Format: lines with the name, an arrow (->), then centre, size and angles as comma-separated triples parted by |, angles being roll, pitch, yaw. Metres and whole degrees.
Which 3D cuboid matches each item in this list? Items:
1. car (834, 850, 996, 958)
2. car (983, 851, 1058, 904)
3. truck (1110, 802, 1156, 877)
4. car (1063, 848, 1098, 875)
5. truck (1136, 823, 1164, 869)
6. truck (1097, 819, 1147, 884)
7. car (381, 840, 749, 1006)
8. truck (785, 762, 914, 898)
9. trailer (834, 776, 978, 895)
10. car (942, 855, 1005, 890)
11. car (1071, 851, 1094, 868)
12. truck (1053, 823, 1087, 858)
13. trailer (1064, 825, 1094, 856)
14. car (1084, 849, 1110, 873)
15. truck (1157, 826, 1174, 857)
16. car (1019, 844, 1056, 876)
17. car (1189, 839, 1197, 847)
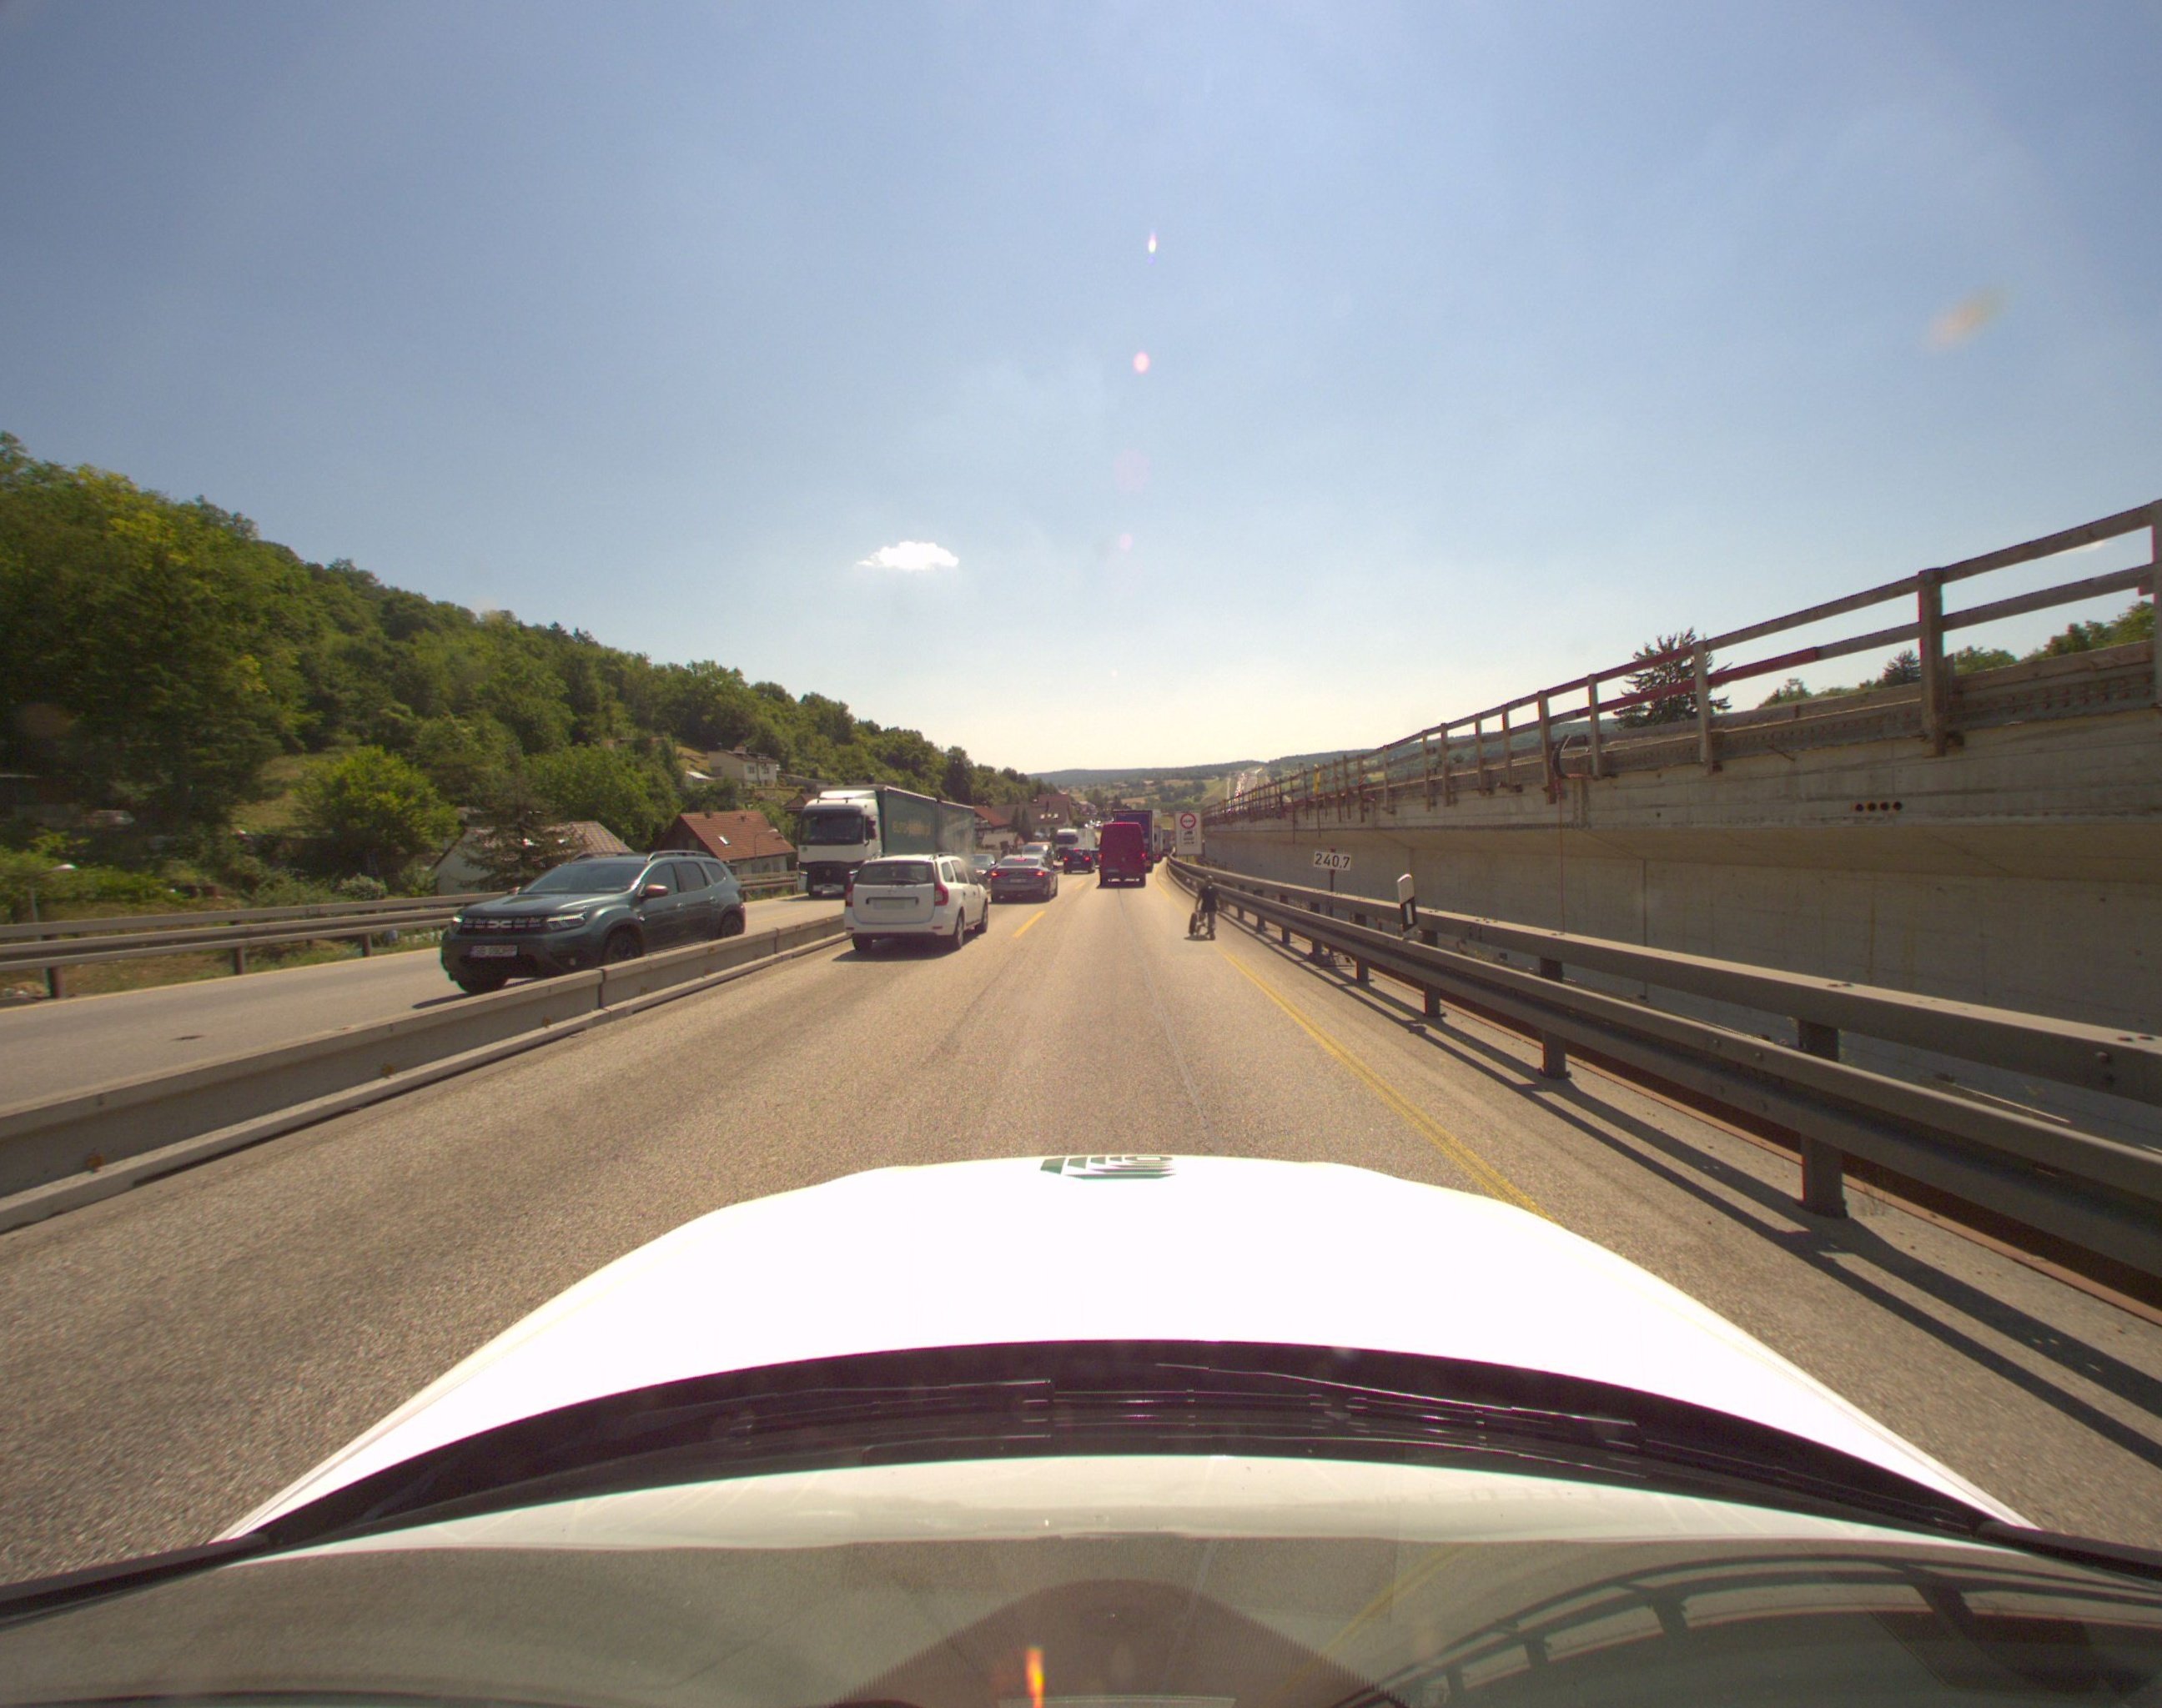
car -> -2.654, 0.749, 14.035 | 1.645, 1.483, 4.269 | -3, -1, 3
car -> -1.810, 0.671, 25.685 | 1.787, 1.485, 4.053 | -2, 0, 4
truck -> 3.812, -0.861, 57.747 | 2.772, 4.816, 9.701 | -1, -1, 6
car -> -0.020, 0.485, 52.528 | 1.801, 1.608, 3.726 | -1, -1, 7
truck -> 7.711, -0.798, 89.883 | 2.772, 4.816, 9.701 | -1, -1, 6
truck -> 1.790, -0.081, 35.120 | 1.985, 2.578, 4.004 | -1, -1, 4
car -> -6.211, 0.719, 10.529 | 1.949, 1.681, 4.117 | -2, 0, 3
truck -> -8.539, -0.788, 30.822 | 2.834, 4.580, 5.792 | -1, -1, 3
trailer -> -7.852, -0.649, 39.567 | 2.821, 4.641, 14.596 | -1, -1, 4
car -> -4.830, 0.826, 37.282 | 1.893, 1.462, 4.762 | -1, -1, 4
car -> 0.199, 0.552, 82.741 | 1.571, 1.522, 4.165 | -1, -3, 10
truck -> -1.271, -1.726, 104.570 | 2.963, 4.162, 10.564 | -1, 1, 6
trailer -> -0.151, -1.832, 114.308 | 2.987, 4.165, 9.035 | -1, 0, 7
car -> 1.377, 0.568, 67.089 | 1.720, 1.838, 4.007 | -1, -1, 6
truck -> 12.518, -1.808, 120.892 | 1.980, 4.381, 4.013 | -1, -1, 12
car -> -3.098, 0.471, 58.886 | 1.984, 2.173, 4.838 | -1, -1, 5
car -> 30.677, -3.043, 223.197 | 2.118, 2.014, 4.011 | -1, -1, 10
